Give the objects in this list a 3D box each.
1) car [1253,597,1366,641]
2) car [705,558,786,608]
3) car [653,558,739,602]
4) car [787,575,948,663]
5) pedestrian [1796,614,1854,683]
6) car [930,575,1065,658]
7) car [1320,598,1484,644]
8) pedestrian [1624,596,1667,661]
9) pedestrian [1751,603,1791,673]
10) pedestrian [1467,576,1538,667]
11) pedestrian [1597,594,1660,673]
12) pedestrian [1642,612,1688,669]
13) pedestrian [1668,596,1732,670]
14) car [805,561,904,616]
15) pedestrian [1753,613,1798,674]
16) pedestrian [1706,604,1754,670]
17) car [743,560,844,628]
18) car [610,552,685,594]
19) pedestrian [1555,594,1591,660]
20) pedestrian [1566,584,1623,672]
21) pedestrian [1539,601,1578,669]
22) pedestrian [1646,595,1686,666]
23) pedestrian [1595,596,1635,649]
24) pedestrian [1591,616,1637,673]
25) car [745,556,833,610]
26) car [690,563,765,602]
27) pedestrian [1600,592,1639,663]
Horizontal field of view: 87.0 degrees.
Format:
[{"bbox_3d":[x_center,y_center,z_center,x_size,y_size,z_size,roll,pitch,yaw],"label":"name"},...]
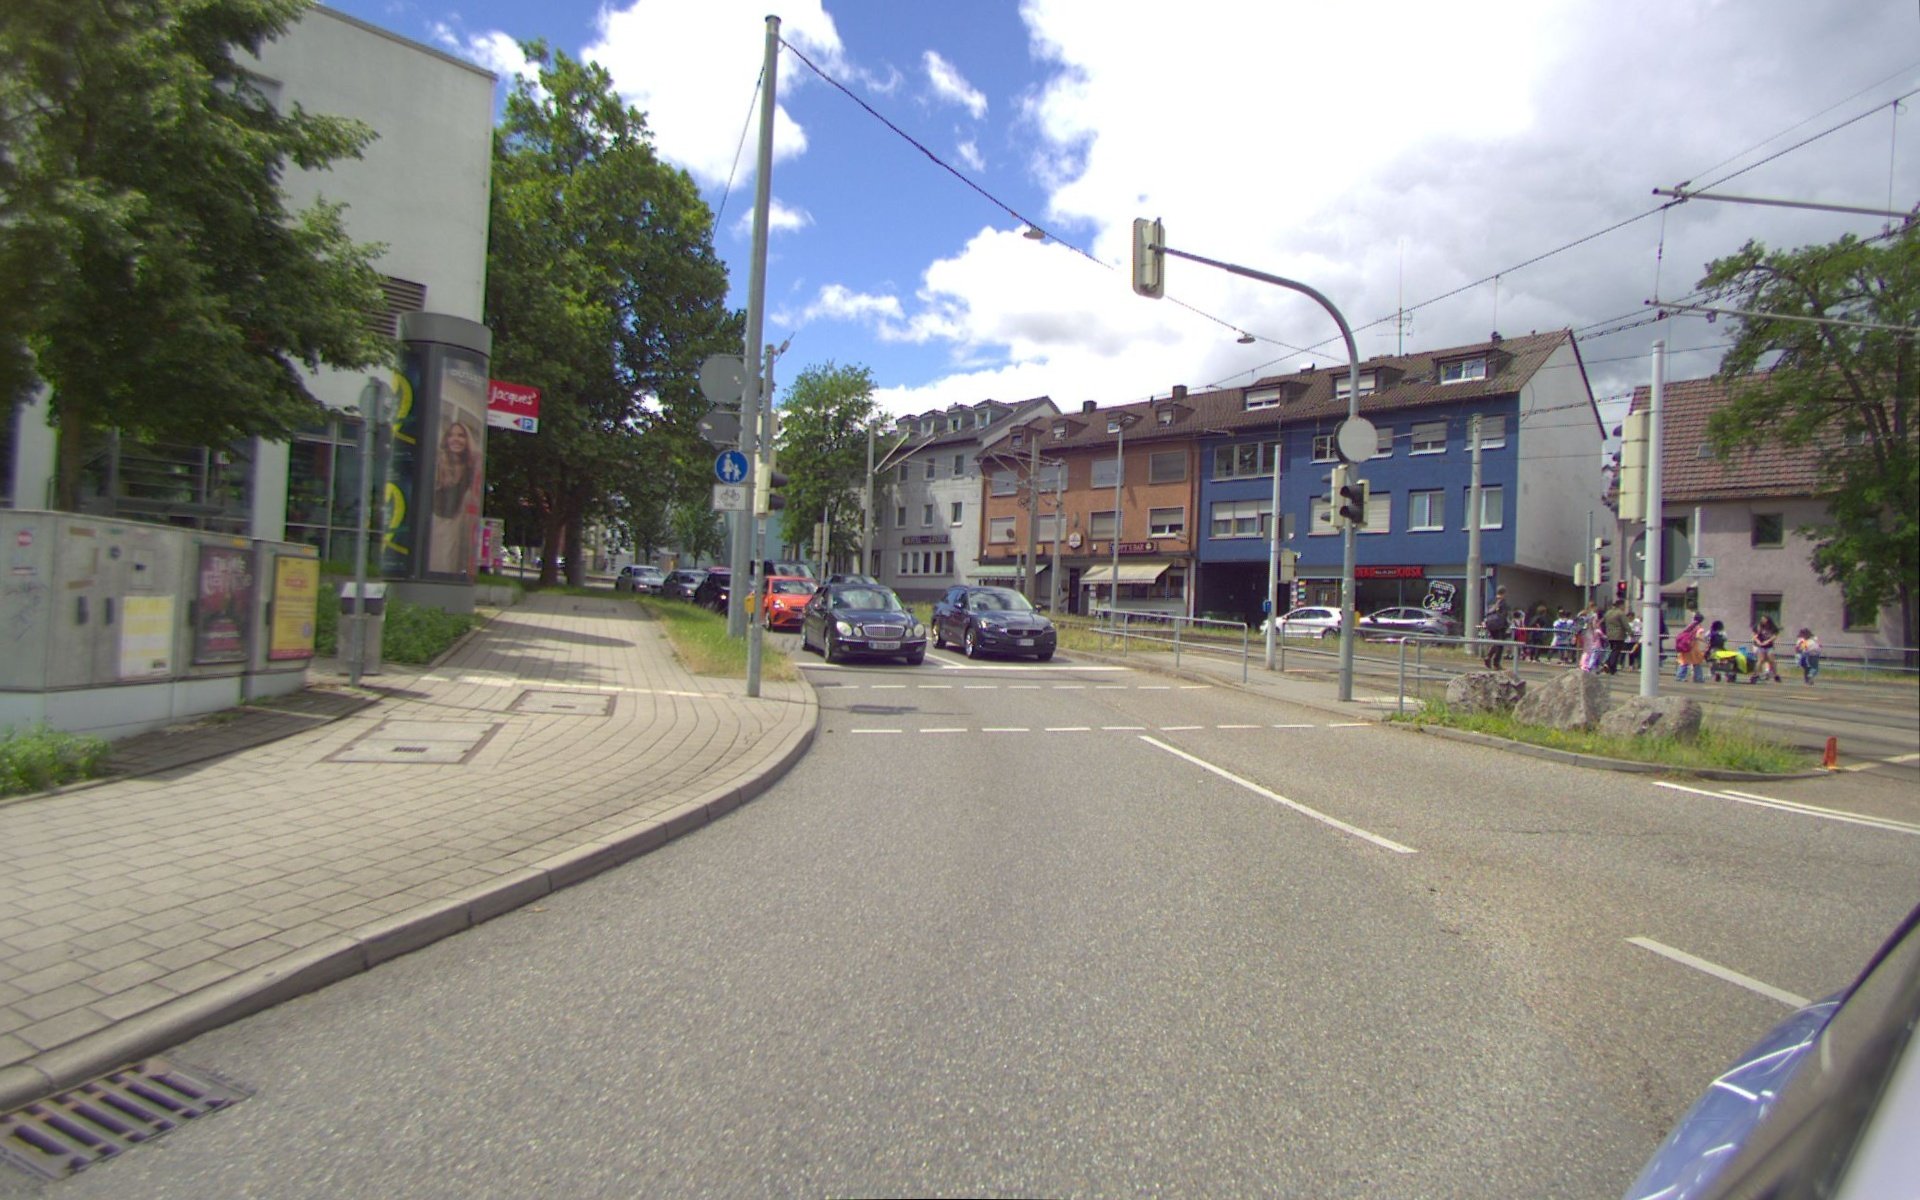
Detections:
[{"bbox_3d":[14.167,0.769,41.200,1.683,1.551,3.992,4,-1,-43],"label":"car"},{"bbox_3d":[-7.114,-0.549,33.229,1.863,1.482,4.008,2,0,-22],"label":"car"},{"bbox_3d":[-10.266,-0.791,39.173,1.962,1.603,4.001,1,1,-35],"label":"car"},{"bbox_3d":[-1.909,0.296,19.445,2.010,1.483,4.333,1,1,-20],"label":"car"},{"bbox_3d":[19.196,1.066,22.481,0.766,1.488,0.540,2,0,7],"label":"pedestrian"},{"bbox_3d":[0.676,0.264,21.405,1.703,1.455,4.104,0,3,-15],"label":"car"},{"bbox_3d":[15.187,0.691,34.955,1.887,1.388,4.843,4,-2,-44],"label":"car"},{"bbox_3d":[17.018,0.707,25.123,0.575,1.586,0.676,4,-2,-30],"label":"pedestrian"},{"bbox_3d":[18.442,0.859,23.008,0.664,1.546,0.586,1,0,-44],"label":"pedestrian"},{"bbox_3d":[11.703,0.452,21.843,0.947,1.864,0.828,3,0,-17],"label":"pedestrian"},{"bbox_3d":[14.821,0.721,22.456,0.878,1.672,0.823,2,0,11],"label":"pedestrian"},{"bbox_3d":[17.763,1.005,25.501,0.576,1.392,0.781,-1,1,-31],"label":"pedestrian"},{"bbox_3d":[15.606,0.689,21.369,0.843,1.500,0.738,2,0,17],"label":"pedestrian"},{"bbox_3d":[-3.569,-0.399,33.536,1.888,1.659,4.006,2,0,-27],"label":"car"},{"bbox_3d":[19.488,1.030,24.194,0.661,1.418,0.588,2,0,-27],"label":"pedestrian"},{"bbox_3d":[17.927,0.854,23.572,0.661,1.511,0.589,2,0,-18],"label":"pedestrian"},{"bbox_3d":[-4.620,-0.135,27.637,1.958,1.663,4.008,2,-1,-20],"label":"car"},{"bbox_3d":[-13.472,-1.166,43.460,1.962,1.639,4.001,1,1,-34],"label":"car"},{"bbox_3d":[16.876,0.729,27.871,0.577,1.771,0.674,-1,3,-43],"label":"pedestrian"},{"bbox_3d":[13.172,0.565,21.033,0.681,1.772,0.751,2,0,5],"label":"pedestrian"},{"bbox_3d":[16.095,0.933,27.218,0.742,1.772,0.584,2,0,17],"label":"pedestrian"},{"bbox_3d":[18.229,0.767,26.126,0.577,1.771,0.674,-1,3,-43],"label":"pedestrian"},{"bbox_3d":[17.691,0.604,27.328,0.622,1.393,0.676,2,0,-31],"label":"pedestrian"},{"bbox_3d":[14.083,0.951,21.811,0.666,1.182,0.584,2,0,17],"label":"pedestrian"},{"bbox_3d":[-6.501,-0.651,38.117,1.815,1.904,4.153,2,0,-32],"label":"car"},{"bbox_3d":[-10.196,-0.779,44.241,1.975,1.574,4.003,2,0,-32],"label":"car"},{"bbox_3d":[17.182,0.706,26.376,0.577,1.771,0.674,-1,3,-43],"label":"pedestrian"}]
